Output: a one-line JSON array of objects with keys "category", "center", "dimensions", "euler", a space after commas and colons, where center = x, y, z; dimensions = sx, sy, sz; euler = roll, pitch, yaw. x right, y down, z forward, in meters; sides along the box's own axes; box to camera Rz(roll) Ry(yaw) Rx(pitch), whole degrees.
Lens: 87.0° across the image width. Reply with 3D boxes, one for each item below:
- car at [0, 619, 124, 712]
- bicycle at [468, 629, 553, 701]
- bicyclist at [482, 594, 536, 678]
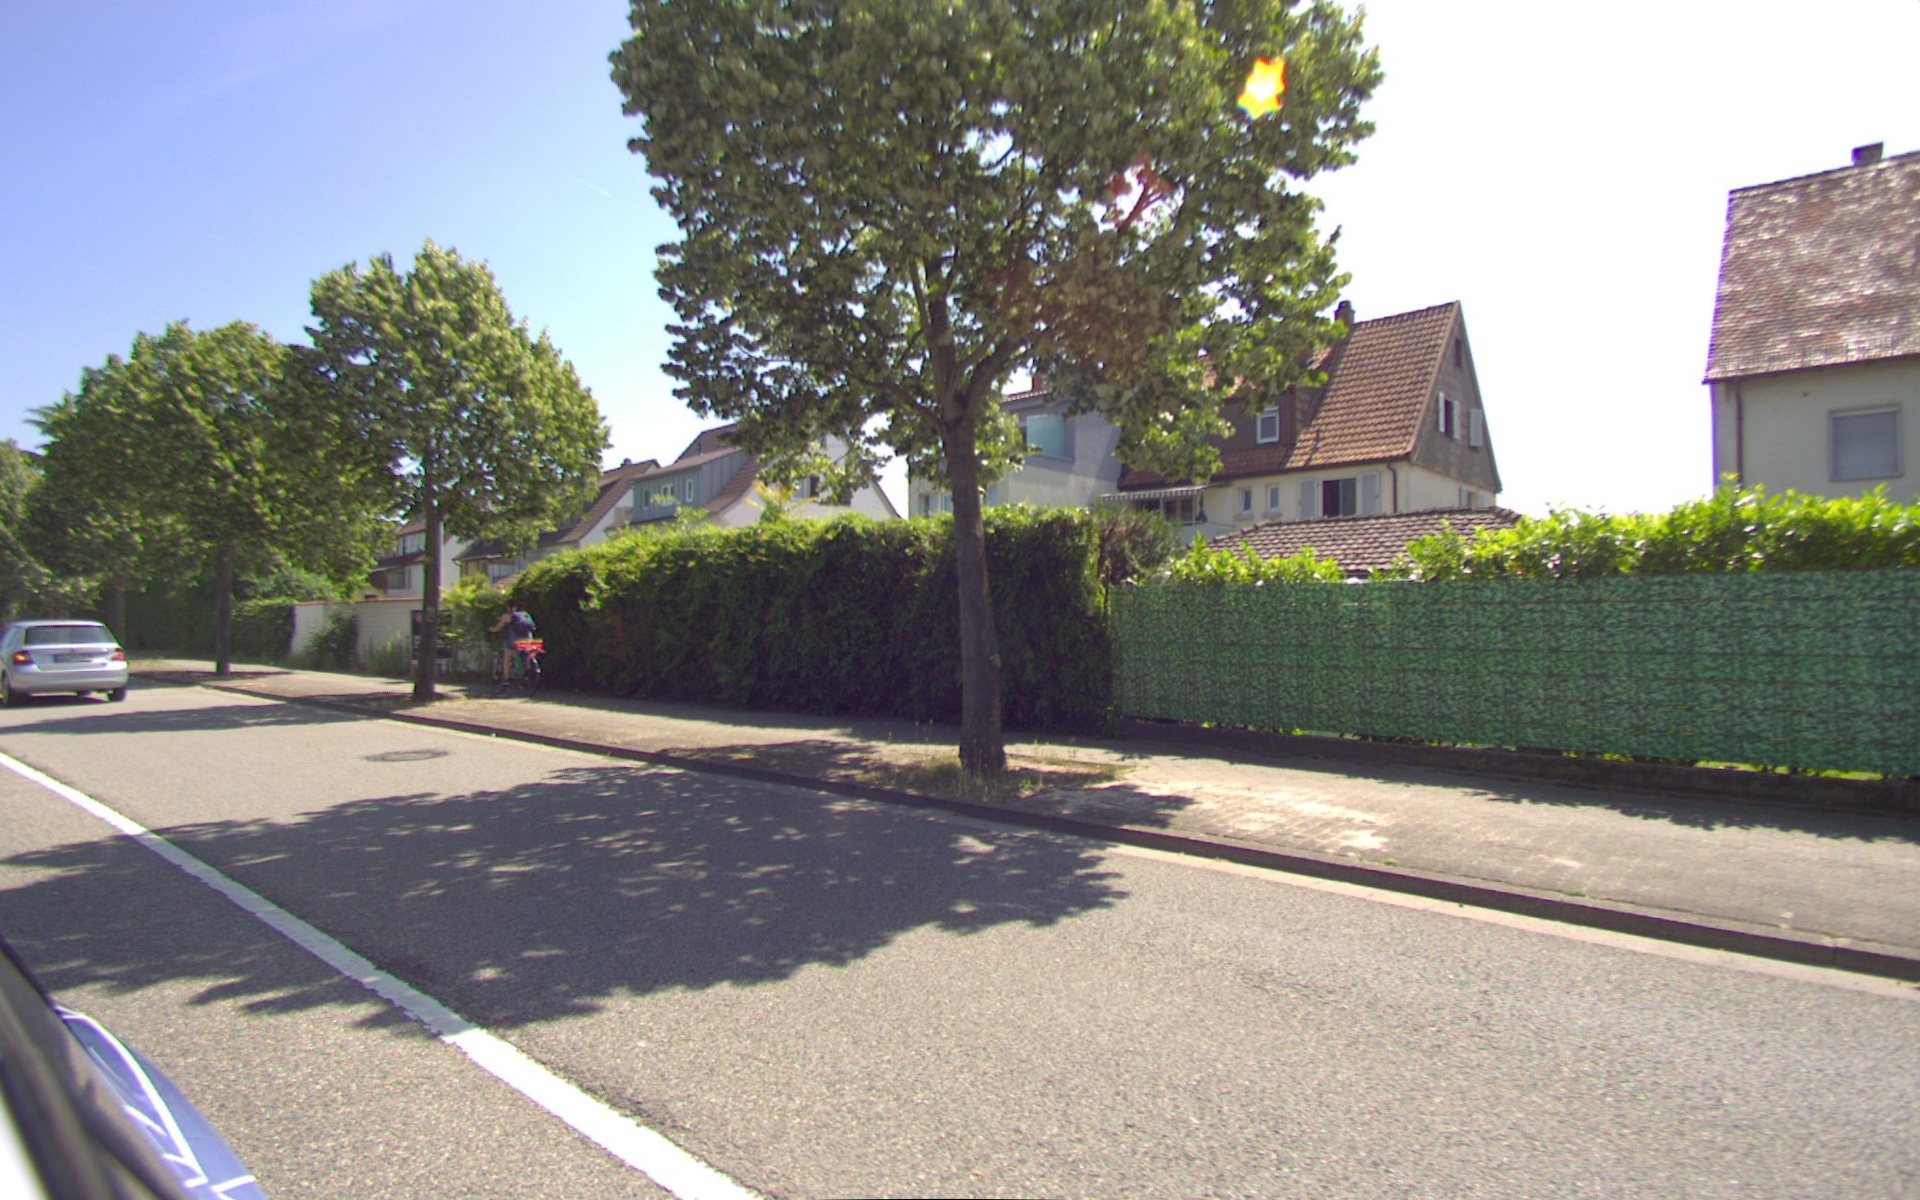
[{"category": "car", "center": [-16.607, 1.118, 18.335], "dimensions": [3.704, 1.494, 1.596], "euler": [-1, -1, 40]}, {"category": "bicycle", "center": [-7.802, 1.094, 17.524], "dimensions": [1.814, 1.189, 0.626], "euler": [-1, -2, 40]}, {"category": "bicyclist", "center": [-7.819, 0.624, 17.552], "dimensions": [0.676, 1.419, 0.622], "euler": [-1, -2, 40]}]
